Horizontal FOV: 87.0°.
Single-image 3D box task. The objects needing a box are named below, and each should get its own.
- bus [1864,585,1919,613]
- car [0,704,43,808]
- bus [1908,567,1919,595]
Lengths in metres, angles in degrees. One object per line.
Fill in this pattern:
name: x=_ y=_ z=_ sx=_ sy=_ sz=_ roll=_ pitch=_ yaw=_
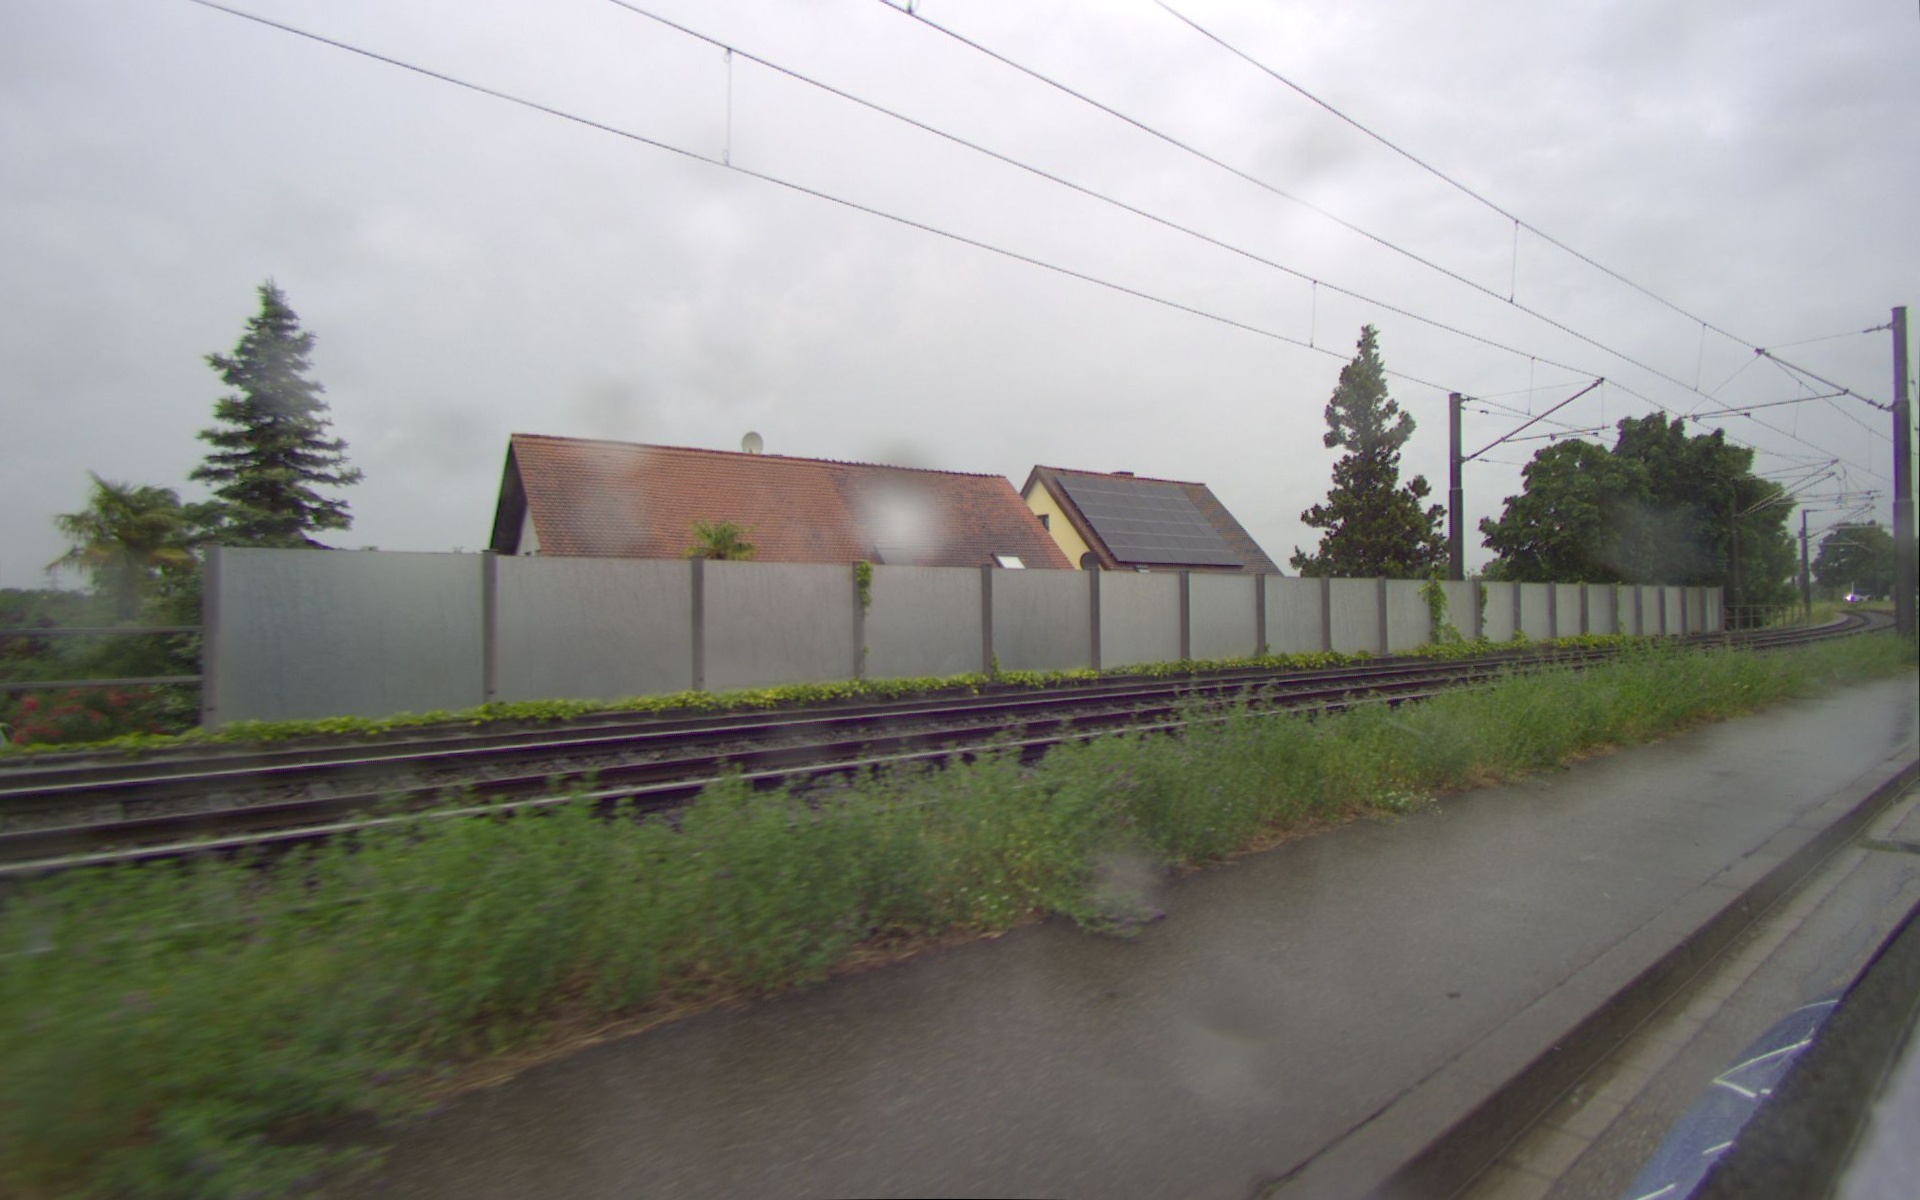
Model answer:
bus: x=110.765 y=-0.154 z=119.190 sx=2.644 sy=3.116 sz=9.929 roll=-2 pitch=-1 yaw=20
car: x=-19.020 y=3.001 z=19.123 sx=1.842 sy=1.658 sz=4.196 roll=-1 pitch=-1 yaw=-33
bus: x=107.224 y=-2.124 z=109.925 sx=2.646 sy=3.116 sz=9.922 roll=-2 pitch=-1 yaw=21
